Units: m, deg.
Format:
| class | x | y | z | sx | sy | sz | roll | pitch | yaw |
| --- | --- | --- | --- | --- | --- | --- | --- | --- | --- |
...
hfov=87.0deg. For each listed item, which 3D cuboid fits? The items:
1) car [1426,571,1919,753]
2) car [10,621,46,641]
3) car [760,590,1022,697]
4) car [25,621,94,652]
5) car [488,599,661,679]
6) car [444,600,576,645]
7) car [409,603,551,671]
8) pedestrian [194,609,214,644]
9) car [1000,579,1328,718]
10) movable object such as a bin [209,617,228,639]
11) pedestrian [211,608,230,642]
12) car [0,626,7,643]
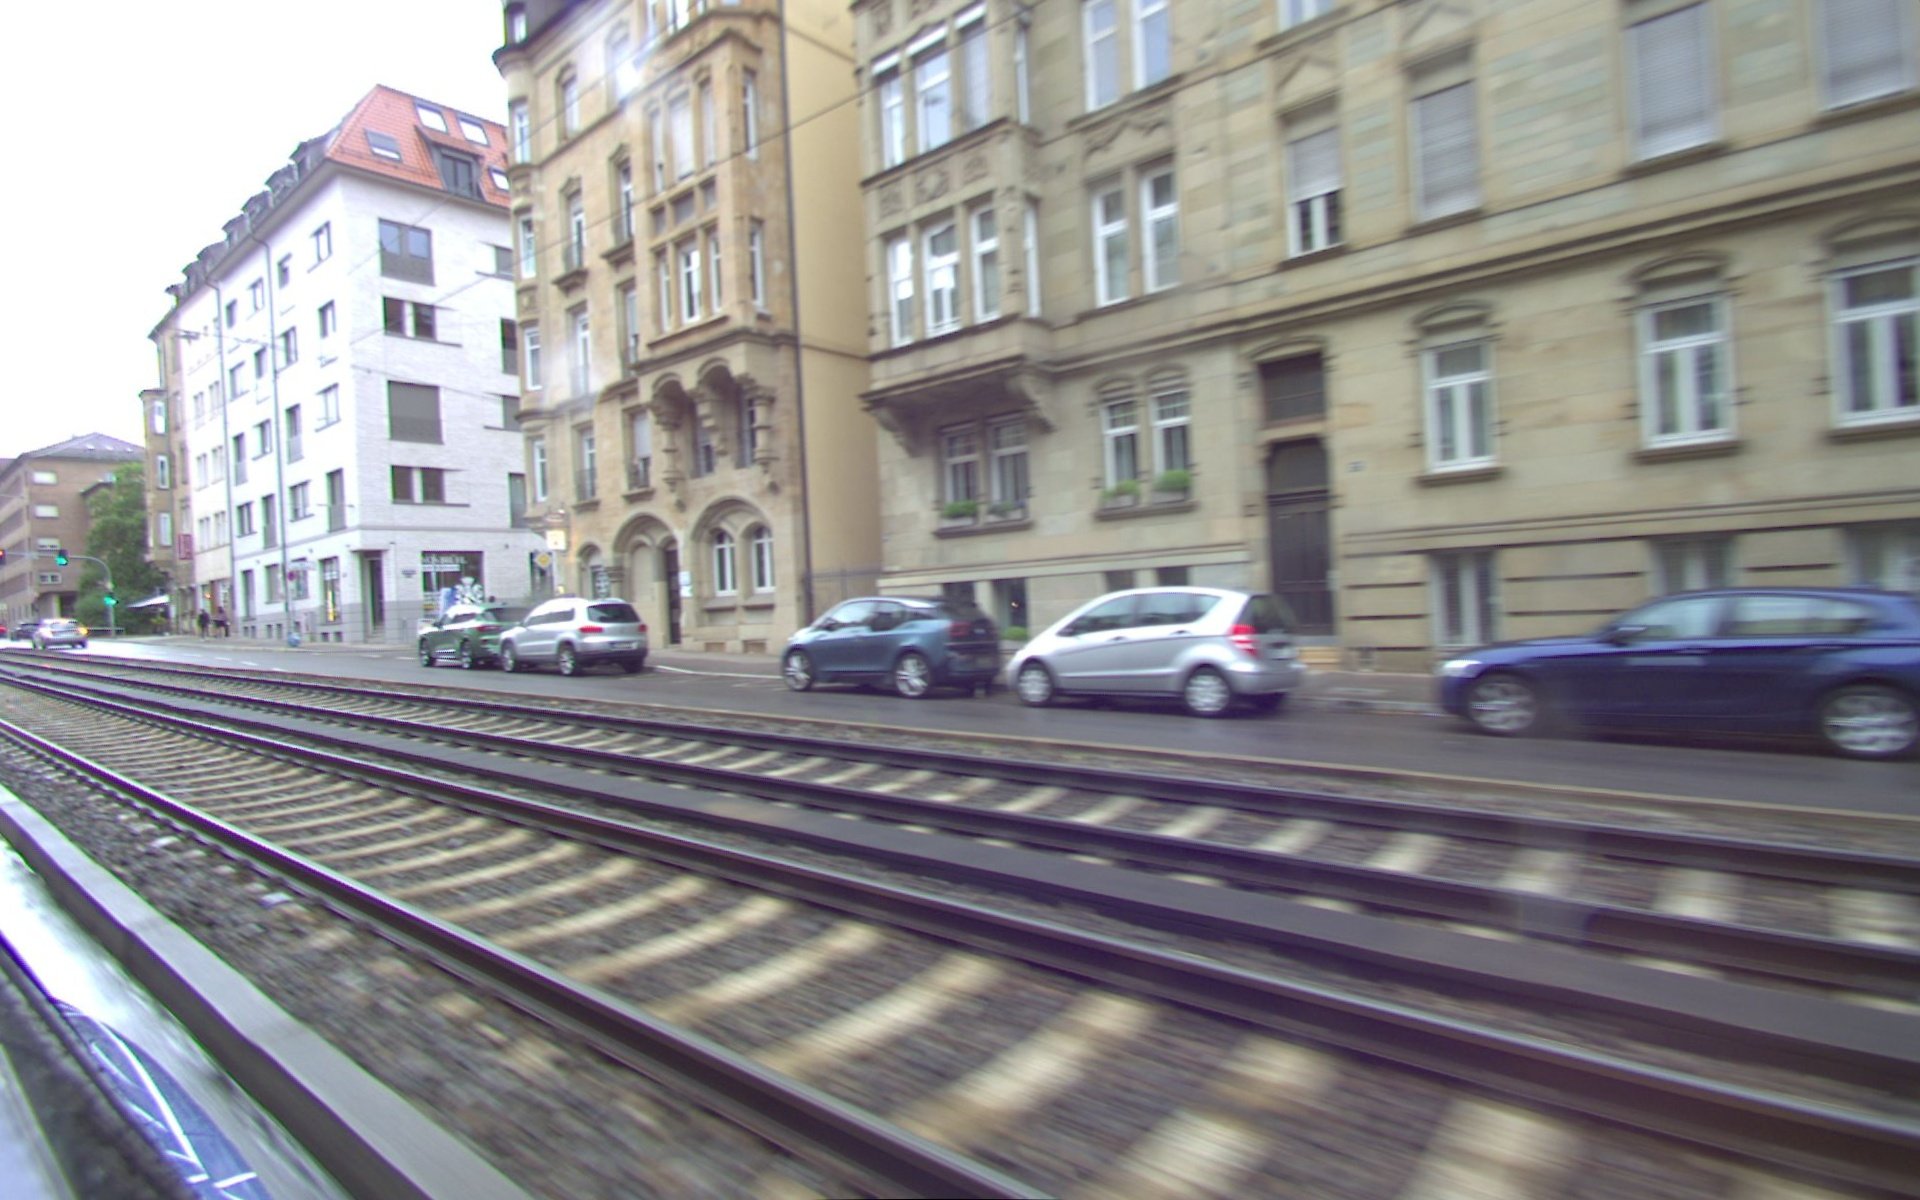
| class | x | y | z | sx | sy | sz | roll | pitch | yaw |
| --- | --- | --- | --- | --- | --- | --- | --- | --- | --- |
| car | 6.875 | 0.520 | 9.460 | 4.266 | 1.409 | 1.744 | -2 | -2 | 40 |
| car | -69.500 | 2.292 | 75.450 | 3.781 | 1.398 | 1.686 | -2 | -1 | 43 |
| car | -1.210 | 0.660 | 16.519 | 4.167 | 1.519 | 1.851 | -1 | -1 | 41 |
| car | -45.057 | 1.805 | 50.608 | 4.290 | 1.468 | 1.962 | -2 | -1 | 40 |
| car | -8.892 | 0.851 | 23.181 | 4.311 | 1.665 | 1.840 | -2 | -1 | 40 |
| car | -18.778 | 0.907 | 42.412 | 2.032 | 1.741 | 4.647 | -2 | 0 | 37 |
| car | -12.511 | 0.937 | 26.259 | 4.429 | 1.614 | 1.838 | -2 | -1 | 43 |
| pedestrian | -38.772 | 1.342 | 51.881 | 0.746 | 1.731 | 0.595 | -2 | 2 | 44 |
| car | 2.547 | 0.583 | 13.161 | 3.853 | 1.535 | 1.677 | -2 | -2 | 41 |
| movable object such as a bin | -40.003 | 1.517 | 54.580 | 0.563 | 1.088 | 0.623 | -2 | 4 | 40 |
| pedestrian | -38.310 | 1.293 | 52.426 | 0.658 | 1.731 | 0.595 | -2 | 2 | 43 |
| car | -86.972 | 3.115 | 90.652 | 4.859 | 1.468 | 2.065 | -2 | -1 | 43 |
